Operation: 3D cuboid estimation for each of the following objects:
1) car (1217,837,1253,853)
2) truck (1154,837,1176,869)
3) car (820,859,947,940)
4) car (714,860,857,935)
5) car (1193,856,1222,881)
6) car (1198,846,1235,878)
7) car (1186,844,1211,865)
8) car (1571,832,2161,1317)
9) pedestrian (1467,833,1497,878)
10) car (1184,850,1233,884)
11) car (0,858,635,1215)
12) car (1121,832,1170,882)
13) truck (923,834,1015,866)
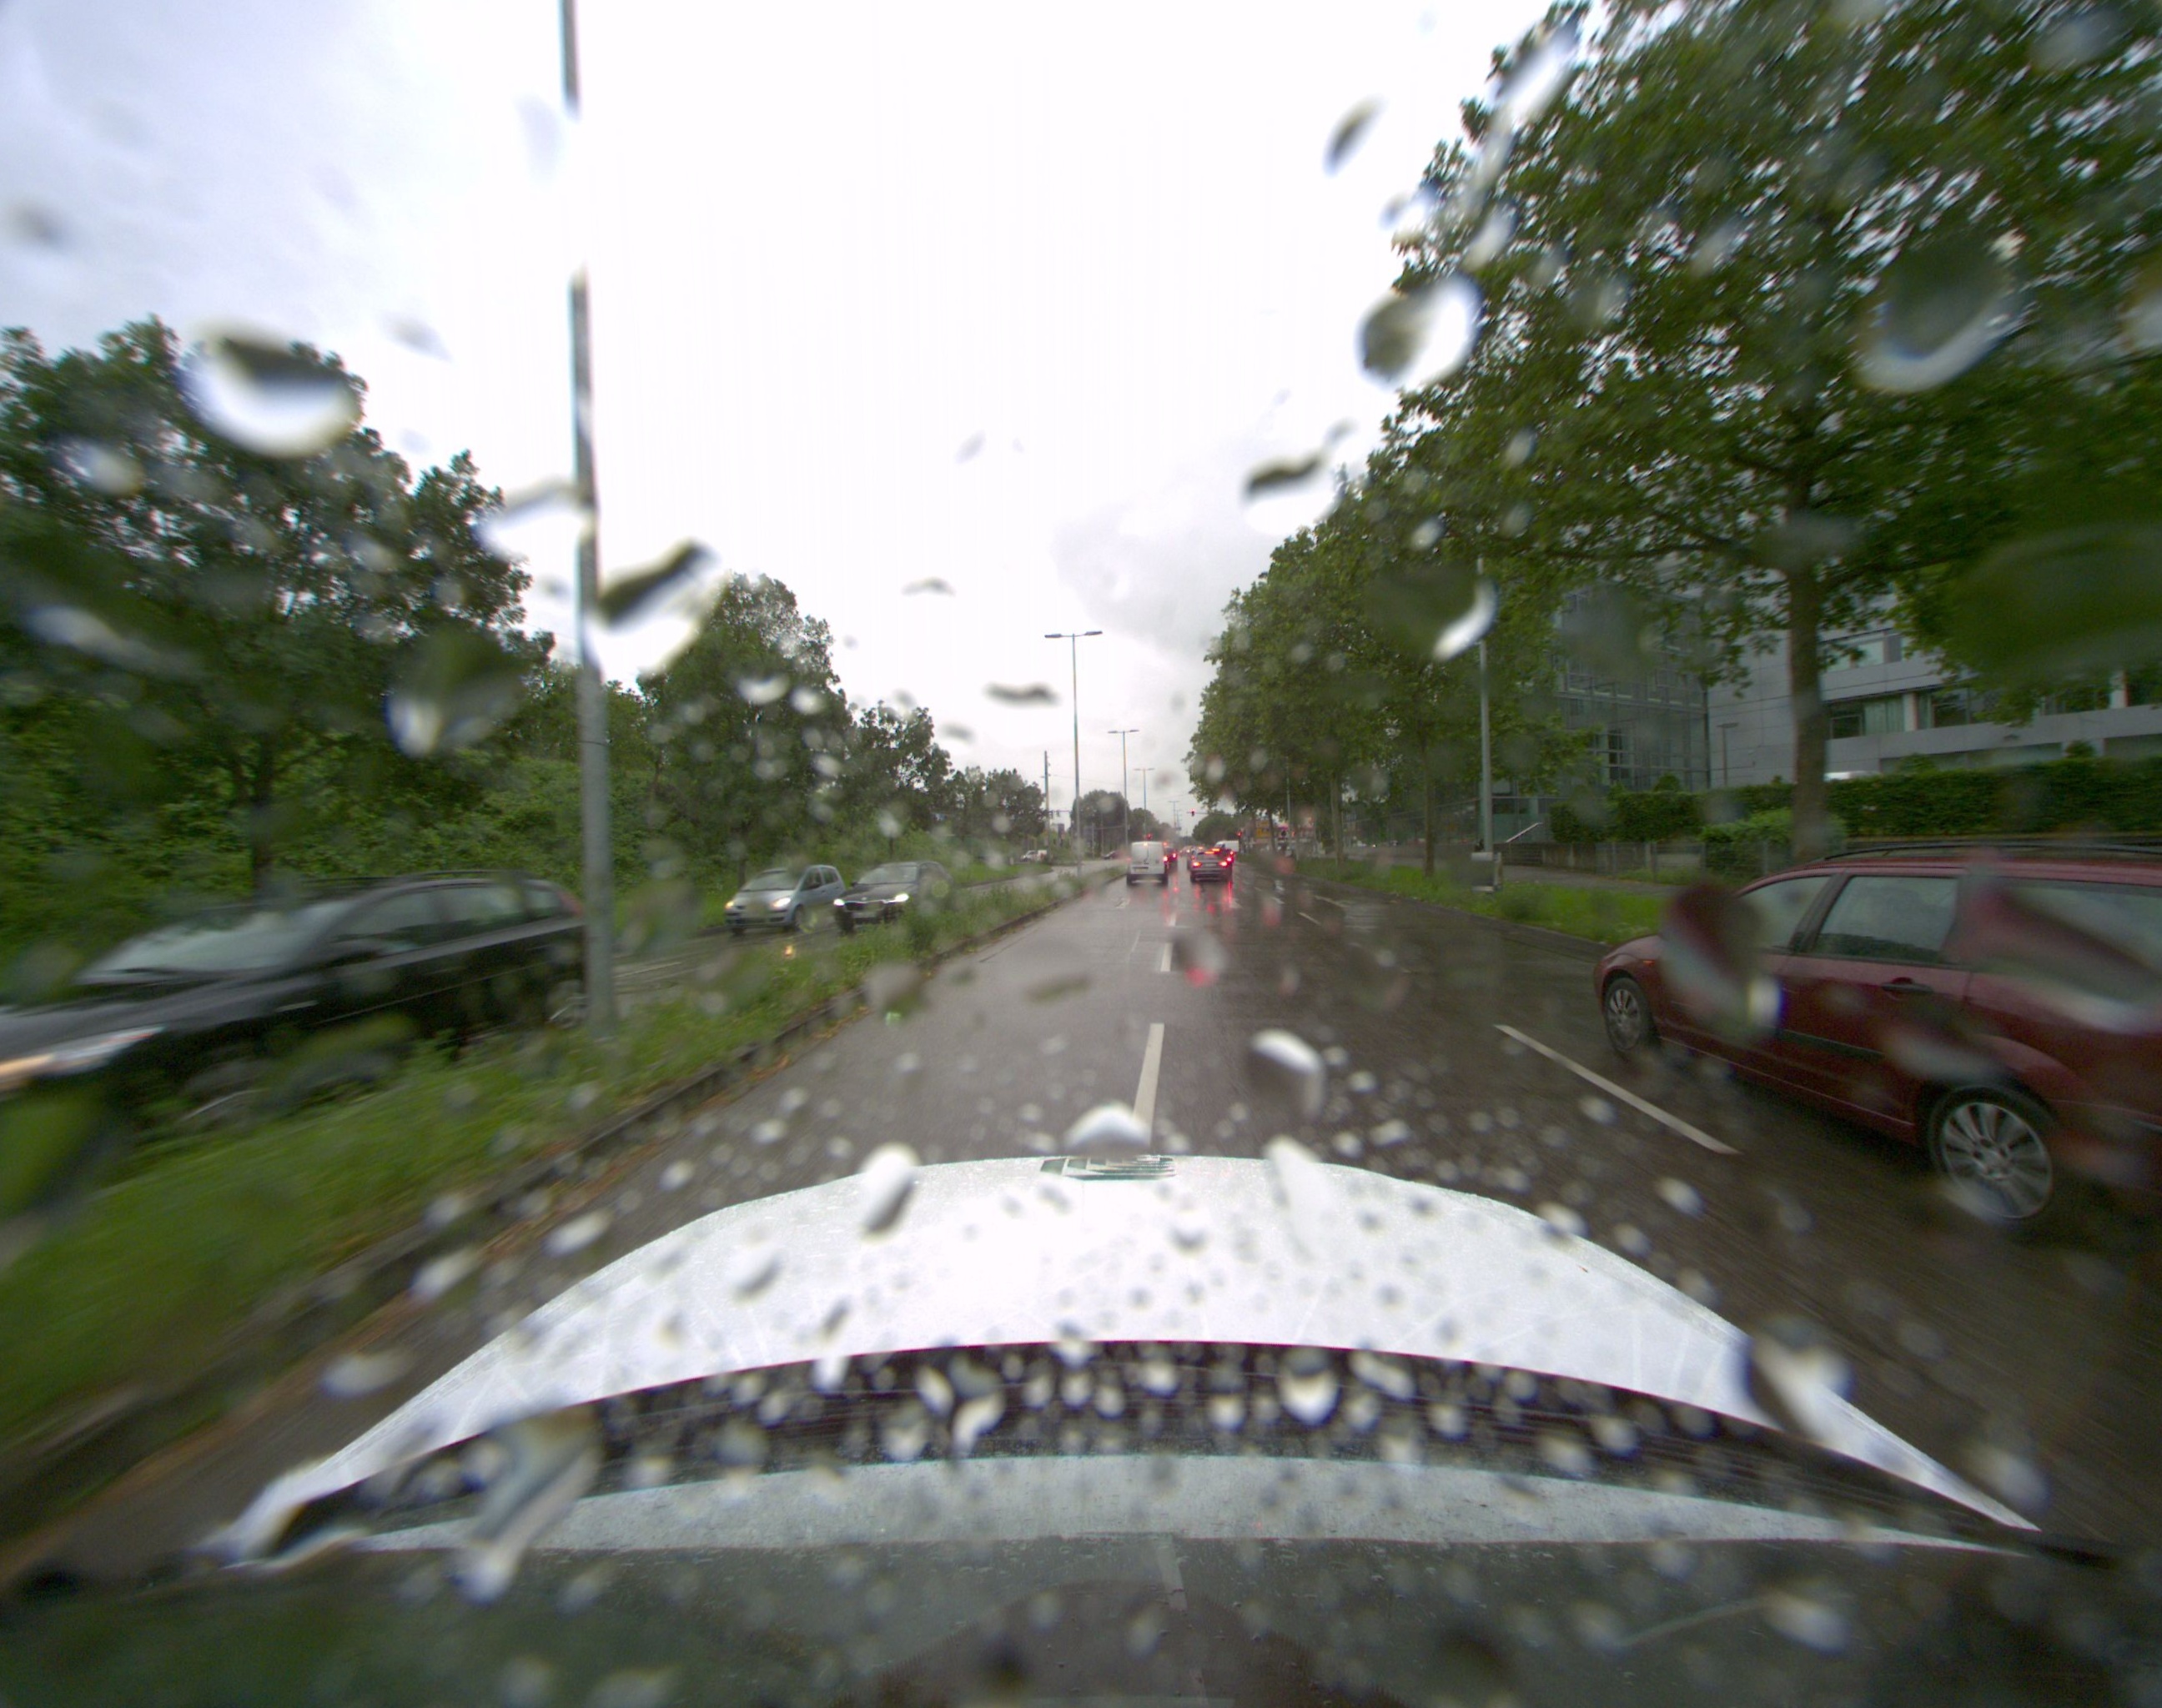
[{"bbox_3d":[26.390,-1.548,139.436,6.037,2.744,1.981,0,-1,-29],"label":"car"},{"bbox_3d":[6.783,-0.083,65.772,1.748,2.466,4.006,-1,0,6],"label":"truck"},{"bbox_3d":[-4.512,0.963,19.286,1.713,1.618,4.349,-1,0,2],"label":"car"},{"bbox_3d":[-7.153,0.992,20.154,1.686,1.618,3.856,-1,0,8],"label":"car"},{"bbox_3d":[8.019,0.876,51.867,1.702,1.445,4.009,-1,1,7],"label":"car"},{"bbox_3d":[7.228,0.394,43.690,1.700,1.549,4.007,-1,1,6],"label":"car"},{"bbox_3d":[8.507,0.022,59.195,1.702,1.445,4.009,-1,1,7],"label":"car"},{"bbox_3d":[4.515,0.687,4.215,1.830,1.536,4.119,-1,0,6],"label":"car"},{"bbox_3d":[16.061,0.038,32.669,0.661,1.762,1.076,-1,0,1],"label":"pedestrian"},{"bbox_3d":[5.842,0.568,37.617,1.984,1.452,4.006,-1,0,6],"label":"car"},{"bbox_3d":[-5.537,0.911,5.947,1.816,1.575,4.364,-4,0,4],"label":"car"},{"bbox_3d":[2.854,0.149,35.331,1.984,2.014,4.006,-1,-1,6],"label":"car"},{"bbox_3d":[-12.793,-0.409,93.283,10.171,3.452,2.633,0,-1,-30],"label":"truck"}]
